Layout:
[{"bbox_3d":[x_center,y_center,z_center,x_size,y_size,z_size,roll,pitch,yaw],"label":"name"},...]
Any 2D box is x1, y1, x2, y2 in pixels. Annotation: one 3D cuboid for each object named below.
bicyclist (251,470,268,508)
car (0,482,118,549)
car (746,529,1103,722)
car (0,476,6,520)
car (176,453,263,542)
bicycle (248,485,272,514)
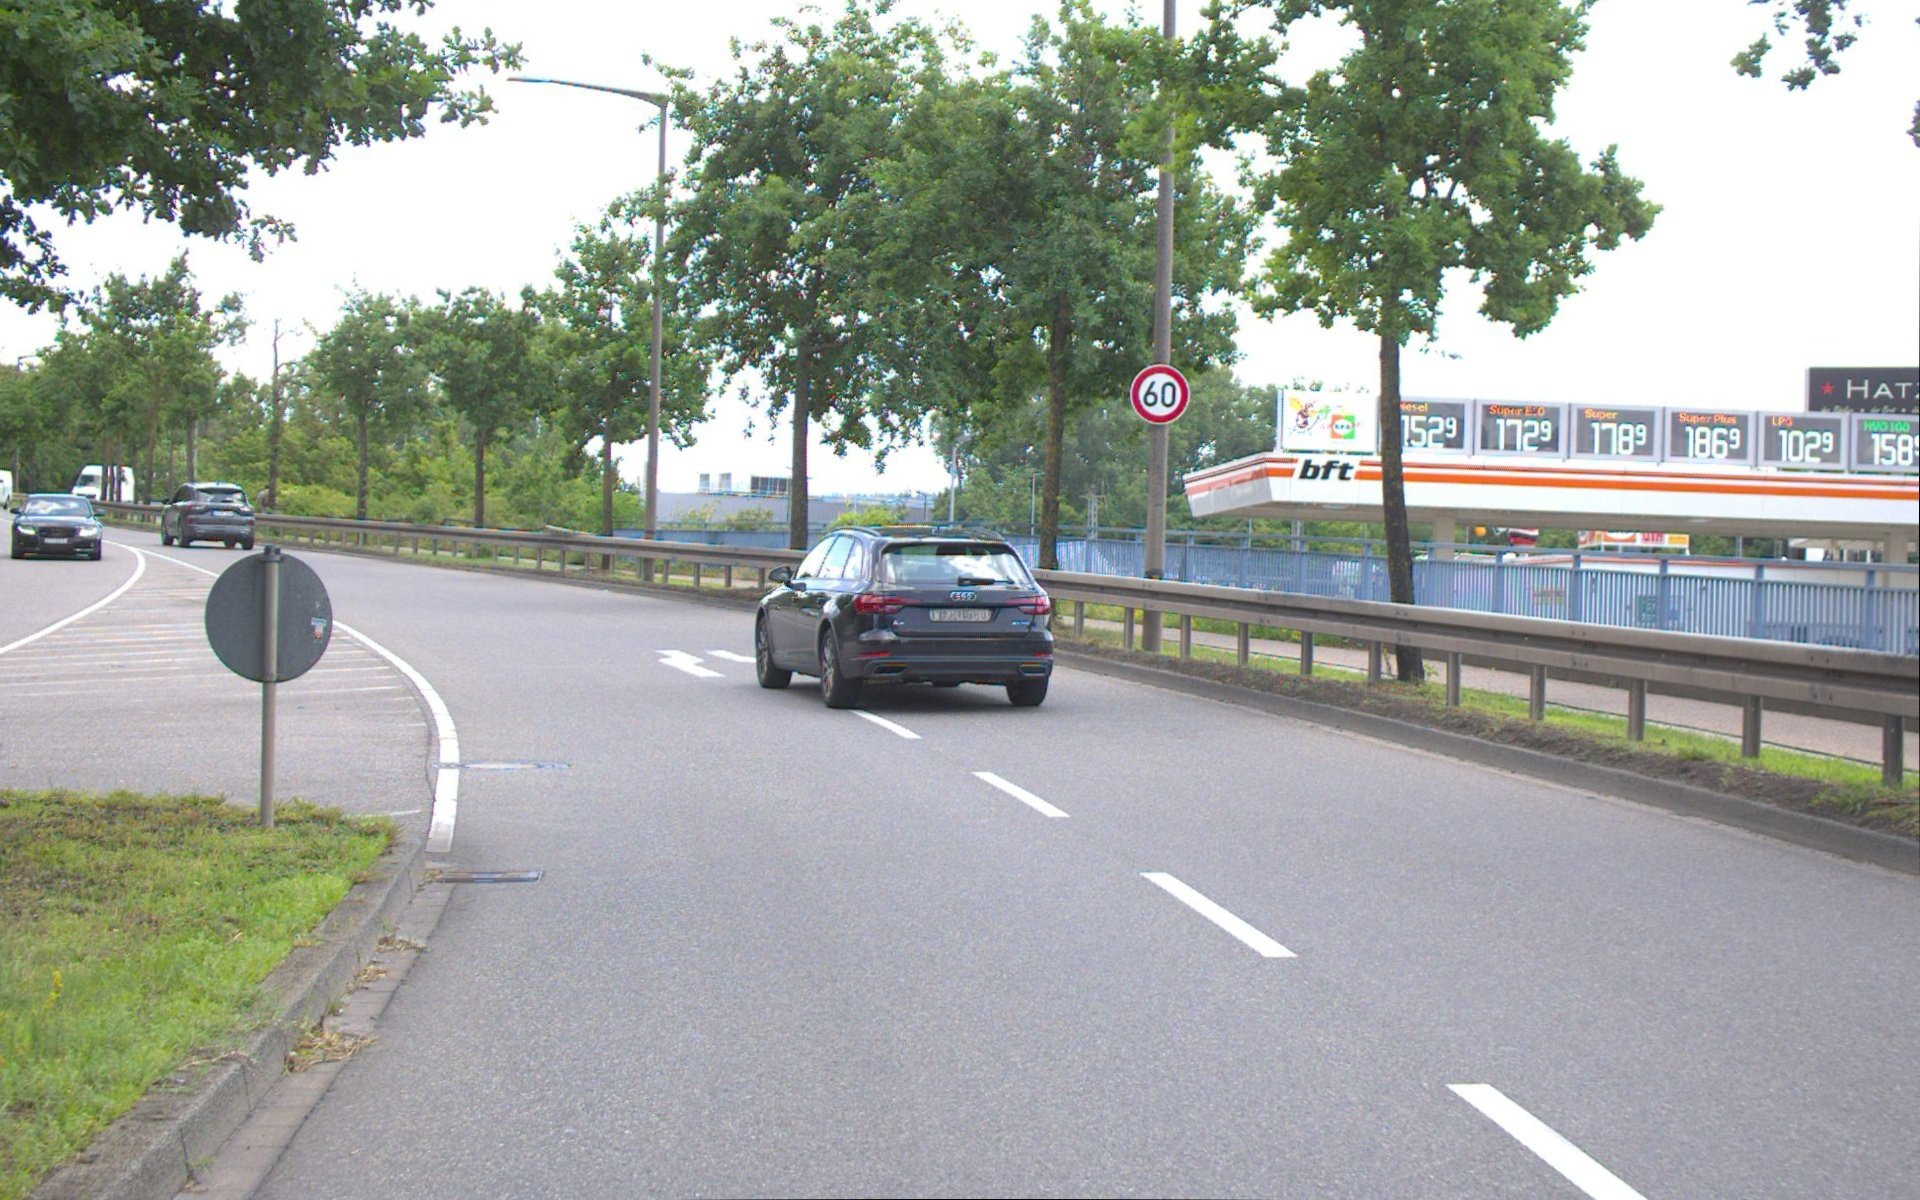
[{"bbox_3d":[-22.547,-3.571,110.638,0.473,1.164,0.827,0,-1,-17],"label":"bicyclist"},{"bbox_3d":[-19.140,-1.796,73.010,1.903,1.359,4.577,-1,1,-7],"label":"car"},{"bbox_3d":[-0.402,0.154,28.647,1.993,1.386,4.577,3,1,-13],"label":"car"},{"bbox_3d":[-47.157,-4.917,165.418,1.993,2.030,4.714,2,-1,-19],"label":"car"},{"bbox_3d":[-18.742,-2.564,86.920,1.993,2.030,4.714,2,-1,-13],"label":"car"},{"bbox_3d":[-22.518,-3.228,110.577,0.542,0.863,1.750,3,0,-17],"label":"bicycle"}]
